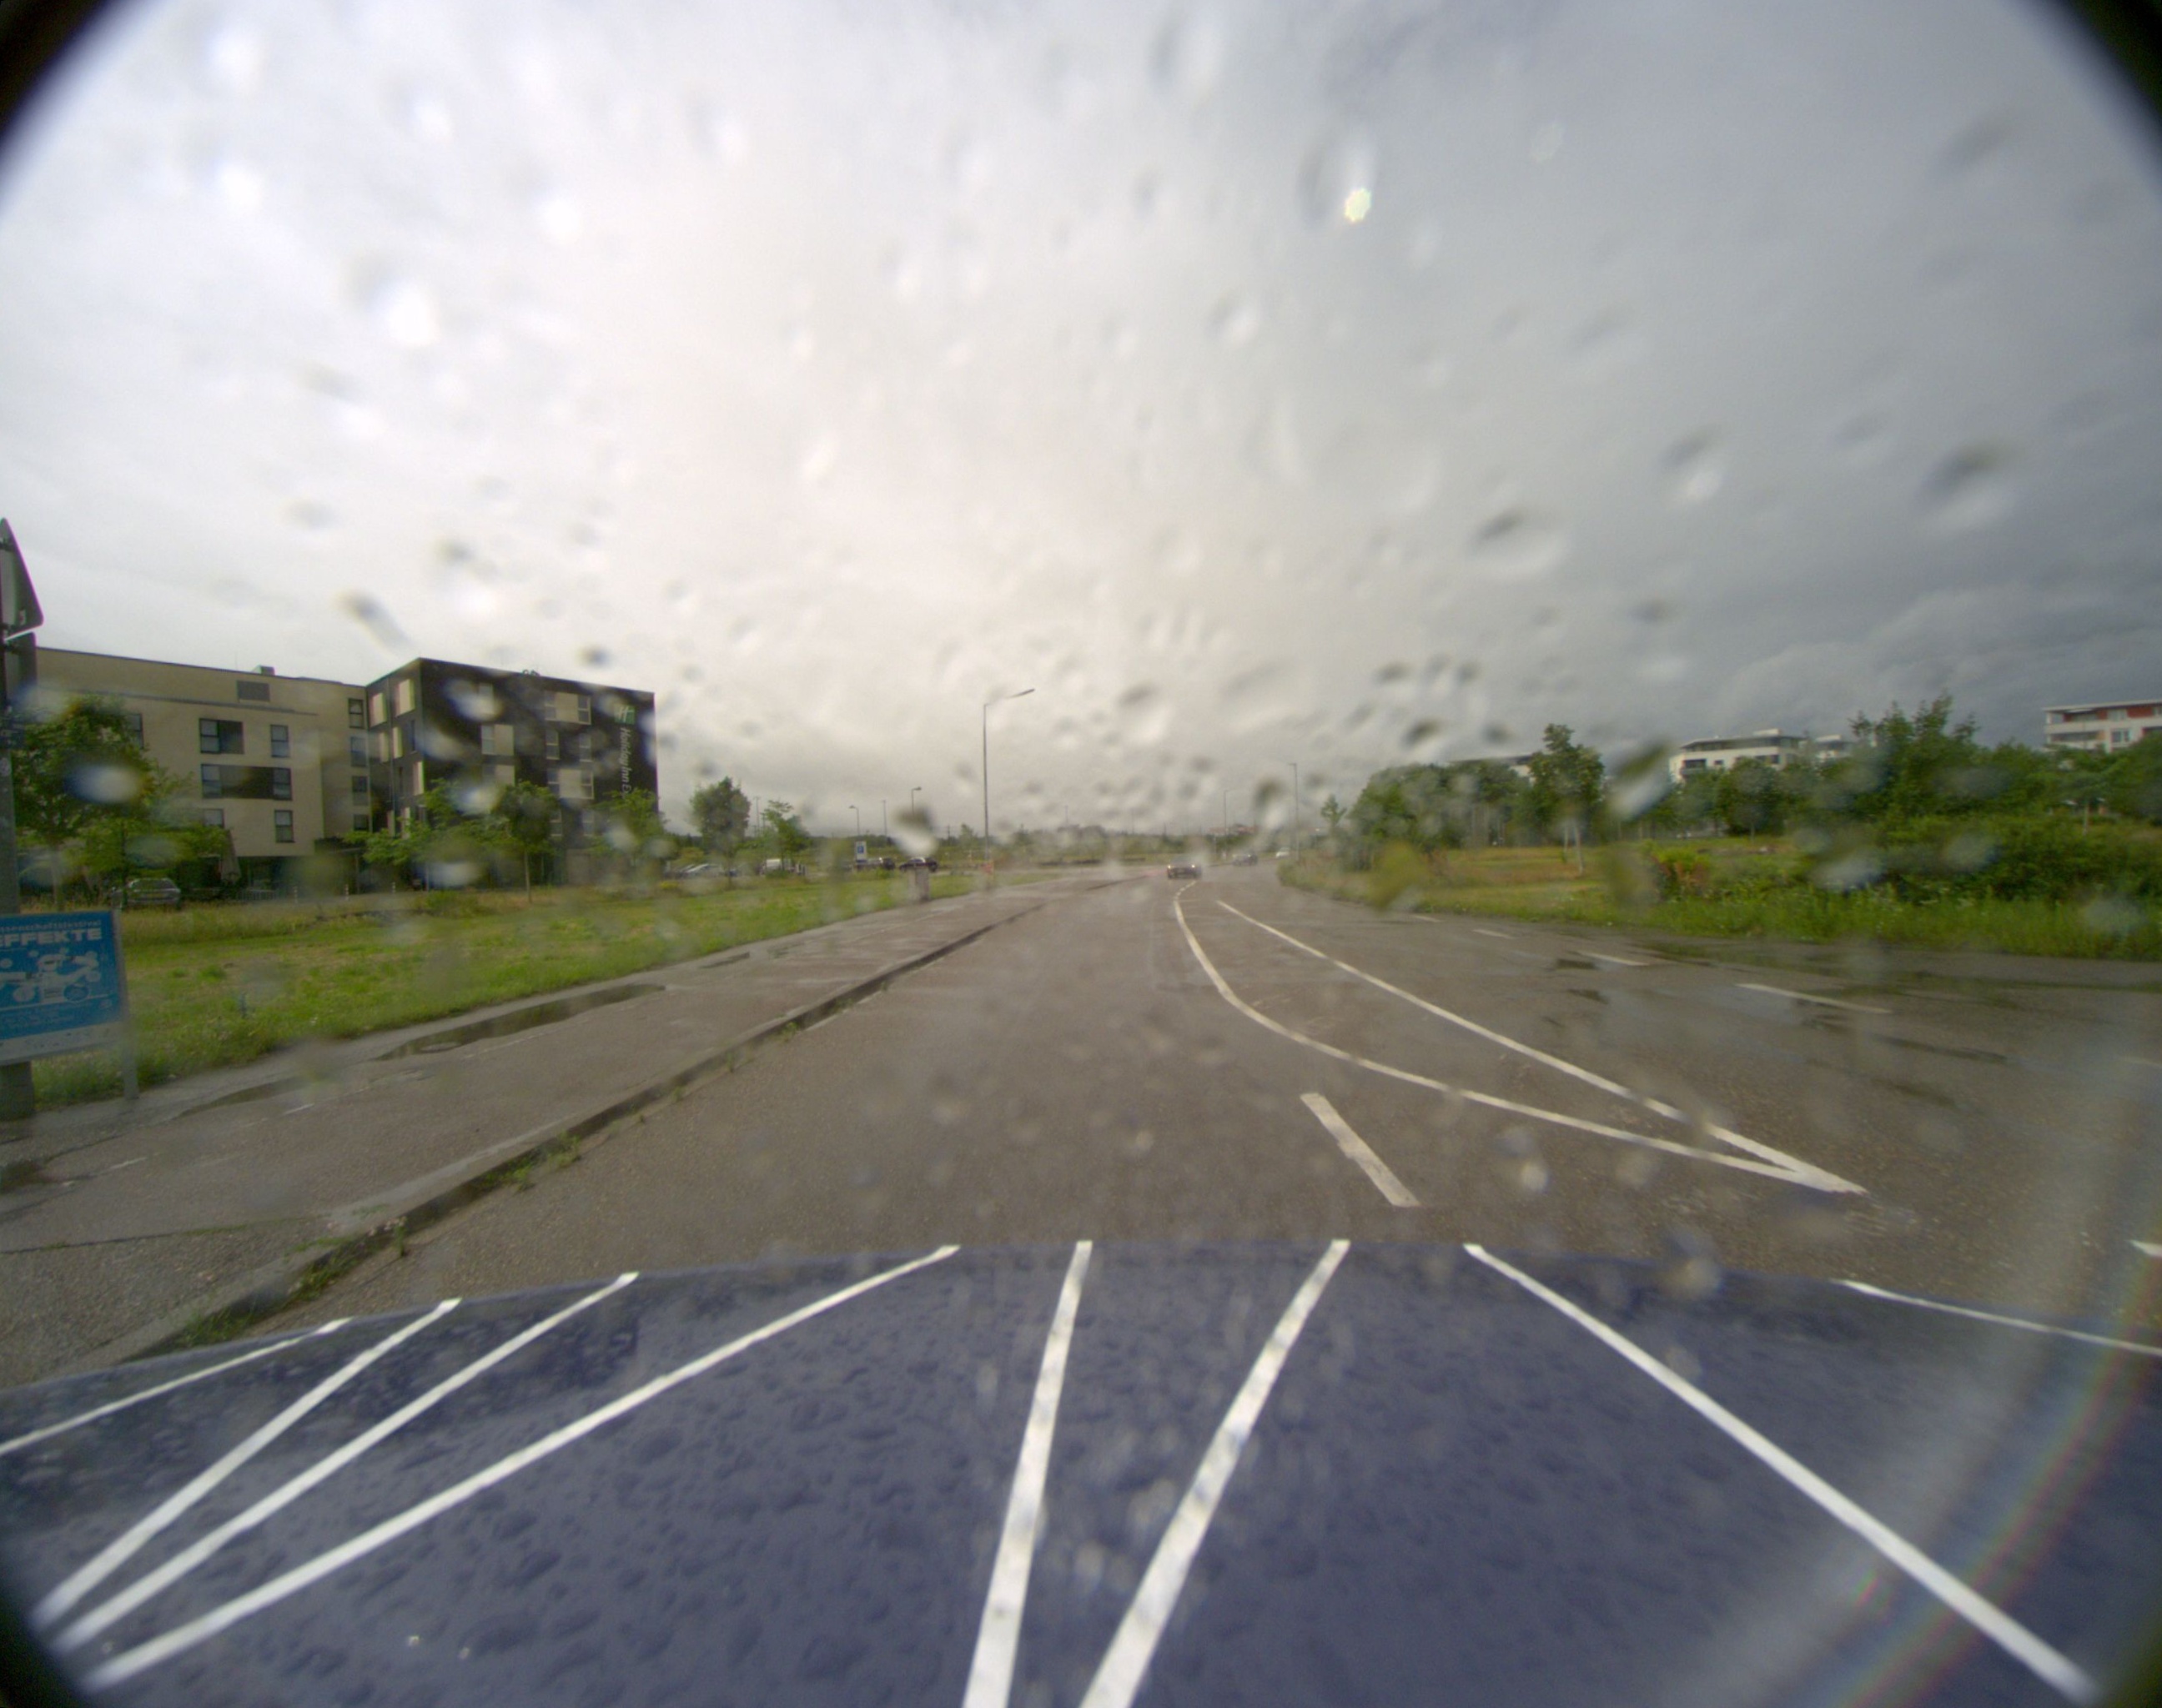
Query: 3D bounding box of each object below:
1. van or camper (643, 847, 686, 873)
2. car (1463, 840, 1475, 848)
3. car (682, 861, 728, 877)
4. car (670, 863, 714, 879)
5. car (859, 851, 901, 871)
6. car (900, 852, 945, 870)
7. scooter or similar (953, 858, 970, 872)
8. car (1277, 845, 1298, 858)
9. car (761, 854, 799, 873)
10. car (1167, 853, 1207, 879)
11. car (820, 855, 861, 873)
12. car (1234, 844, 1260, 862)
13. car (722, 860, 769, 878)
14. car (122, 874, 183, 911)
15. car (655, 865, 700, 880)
[{"bbox_3d":[-59.561,0.892,108.633,6.784,3.182,2.534,-5,-2,35],"label":"van or camper"},{"bbox_3d":[75.865,-1.877,148.672,1.685,1.388,4.135,-4,0,22],"label":"car"},{"bbox_3d":[-39.287,1.579,79.472,1.764,1.387,3.815,-5,-2,33],"label":"car"},{"bbox_3d":[-41.308,1.768,80.788,1.639,1.388,3.788,-4,0,34],"label":"car"},{"bbox_3d":[-21.121,0.767,79.823,3.991,1.717,2.004,-5,-2,31],"label":"car"},{"bbox_3d":[-15.964,0.717,76.570,3.989,1.609,2.003,-2,3,31],"label":"car"},{"bbox_3d":[-9.602,0.890,60.931,1.283,1.180,0.503,0,-1,5],"label":"scooter or similar"},{"bbox_3d":[27.029,-0.326,99.273,1.838,1.510,4.364,-2,0,26],"label":"car"},{"bbox_3d":[-35.566,1.083,89.706,4.328,1.761,2.004,-8,-3,35],"label":"car"},{"bbox_3d":[6.843,0.731,48.553,1.871,1.510,4.362,0,1,17],"label":"car"},{"bbox_3d":[-26.214,1.137,82.690,3.991,1.631,2.004,-5,-2,31],"label":"car"},{"bbox_3d":[16.882,-0.094,77.125,2.007,1.695,4.335,-2,0,19],"label":"car"},{"bbox_3d":[-33.191,1.479,75.311,1.781,1.518,3.850,-5,-2,33],"label":"car"},{"bbox_3d":[-43.953,1.762,35.951,4.206,1.549,1.670,0,2,38],"label":"car"},{"bbox_3d":[-43.500,1.957,81.913,1.781,1.387,3.850,-5,-2,33],"label":"car"}]
